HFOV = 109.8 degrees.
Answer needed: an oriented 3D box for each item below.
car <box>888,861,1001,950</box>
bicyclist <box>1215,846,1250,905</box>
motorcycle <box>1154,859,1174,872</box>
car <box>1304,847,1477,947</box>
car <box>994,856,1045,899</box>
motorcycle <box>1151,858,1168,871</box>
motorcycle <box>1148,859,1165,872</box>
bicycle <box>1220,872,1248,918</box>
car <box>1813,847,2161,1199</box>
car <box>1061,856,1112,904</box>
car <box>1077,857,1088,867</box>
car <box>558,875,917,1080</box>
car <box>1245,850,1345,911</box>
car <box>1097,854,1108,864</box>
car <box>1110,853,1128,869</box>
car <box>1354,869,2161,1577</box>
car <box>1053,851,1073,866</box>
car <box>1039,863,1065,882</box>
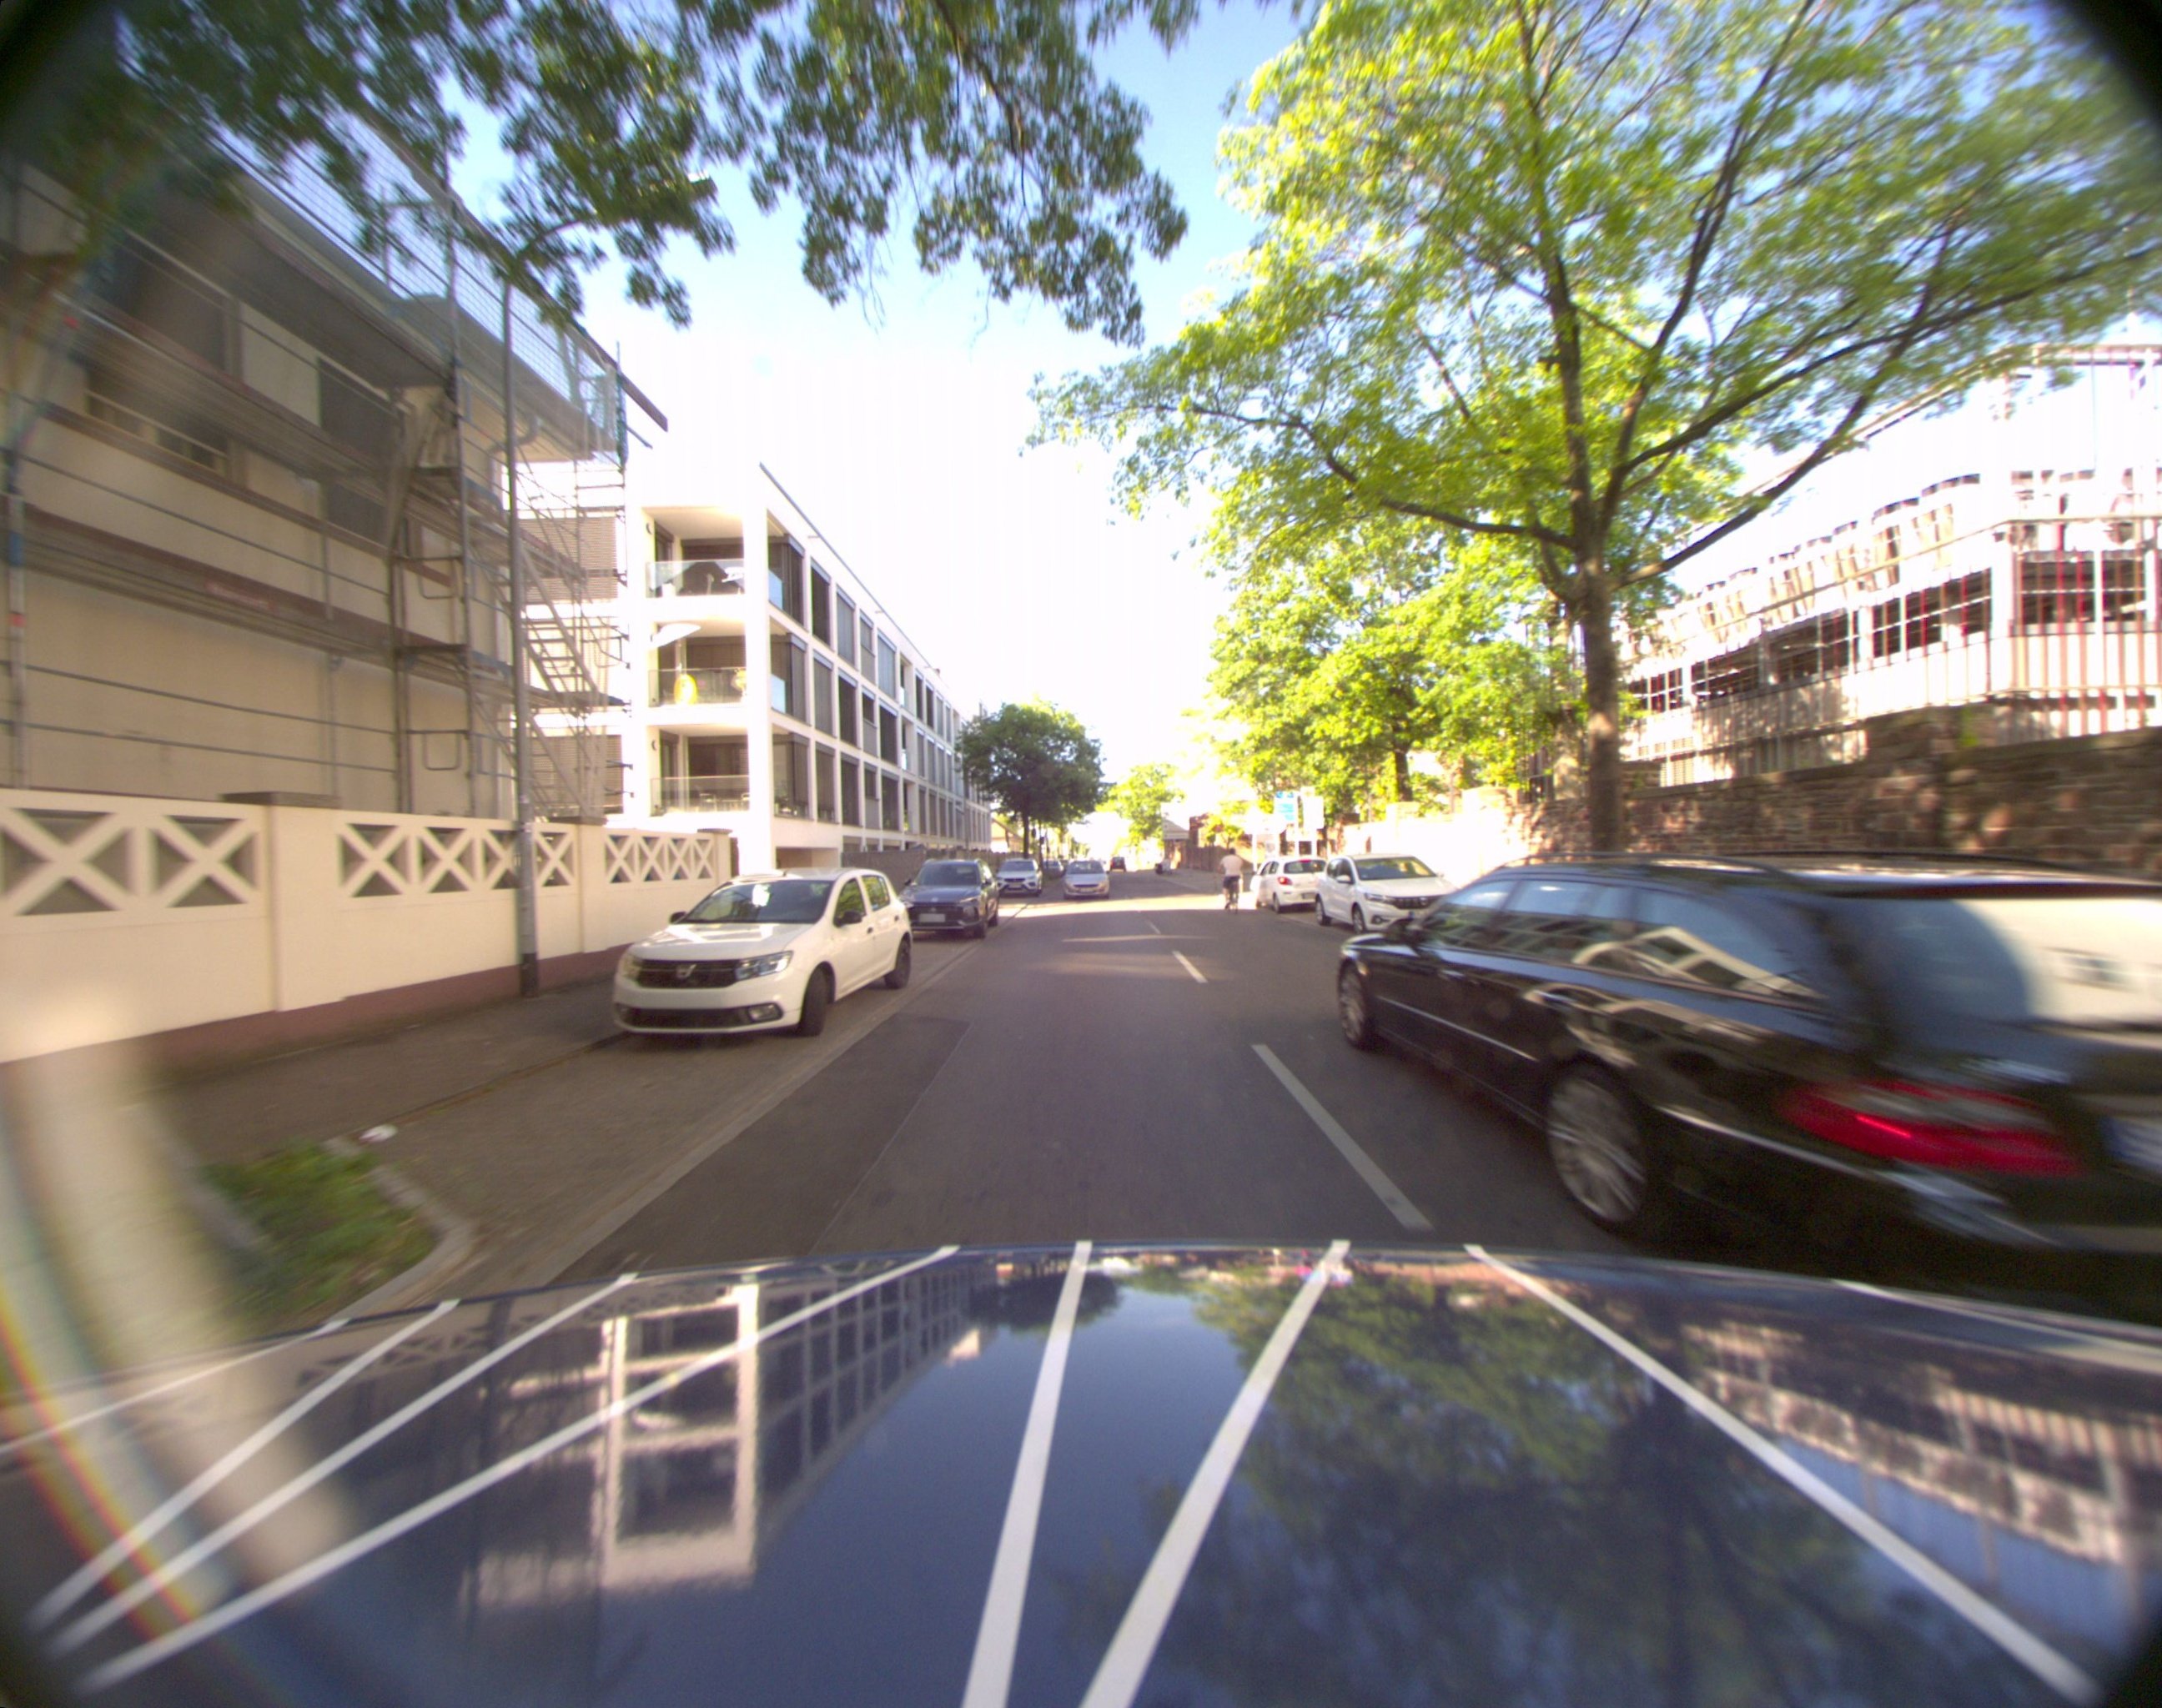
[{"bbox_3d":[-2.830,1.003,16.663,1.716,1.628,4.302,-2,0,-1],"label":"car"},{"bbox_3d":[4.072,0.562,20.467,0.722,1.513,1.005,-3,1,4],"label":"bicyclist"},{"bbox_3d":[6.678,0.906,61.022,0.599,1.026,2.132,-2,0,35],"label":"motorcycle"},{"bbox_3d":[5.648,0.709,14.384,1.681,1.502,3.849,-5,0,1],"label":"car"},{"bbox_3d":[-2.579,0.954,32.610,1.797,1.606,4.126,-3,0,-1],"label":"car"},{"bbox_3d":[6.585,0.895,63.614,0.530,1.033,2.095,-3,0,32],"label":"motorcycle"},{"bbox_3d":[6.428,0.964,64.830,0.530,1.033,2.095,-3,0,32],"label":"motorcycle"},{"bbox_3d":[4.090,1.071,20.397,0.358,1.114,1.866,-3,0,2],"label":"bicycle"},{"bbox_3d":[5.525,0.742,2.884,1.577,1.506,4.044,-2,0,0],"label":"car"},{"bbox_3d":[0.283,0.947,29.553,1.747,1.613,4.107,-3,0,2],"label":"car"},{"bbox_3d":[0.206,1.302,122.317,1.757,1.459,3.486,-3,0,0],"label":"car"},{"bbox_3d":[-3.149,1.022,7.970,1.727,1.501,3.993,0,0,4],"label":"car"},{"bbox_3d":[5.754,0.659,20.864,1.578,1.394,3.750,-5,0,0],"label":"car"},{"bbox_3d":[3.954,0.856,140.033,1.834,1.732,4.000,-3,0,1],"label":"car"},{"bbox_3d":[4.032,0.725,80.765,1.648,1.602,4.020,0,0,-1],"label":"car"},{"bbox_3d":[2.878,0.827,3.587,1.826,1.427,3.969,0,0,1],"label":"car"},{"bbox_3d":[-1.892,0.477,82.798,1.887,1.592,4.299,-2,0,1],"label":"car"},{"bbox_3d":[-2.298,1.511,61.682,1.724,1.402,4.763,-2,0,1],"label":"car"}]
